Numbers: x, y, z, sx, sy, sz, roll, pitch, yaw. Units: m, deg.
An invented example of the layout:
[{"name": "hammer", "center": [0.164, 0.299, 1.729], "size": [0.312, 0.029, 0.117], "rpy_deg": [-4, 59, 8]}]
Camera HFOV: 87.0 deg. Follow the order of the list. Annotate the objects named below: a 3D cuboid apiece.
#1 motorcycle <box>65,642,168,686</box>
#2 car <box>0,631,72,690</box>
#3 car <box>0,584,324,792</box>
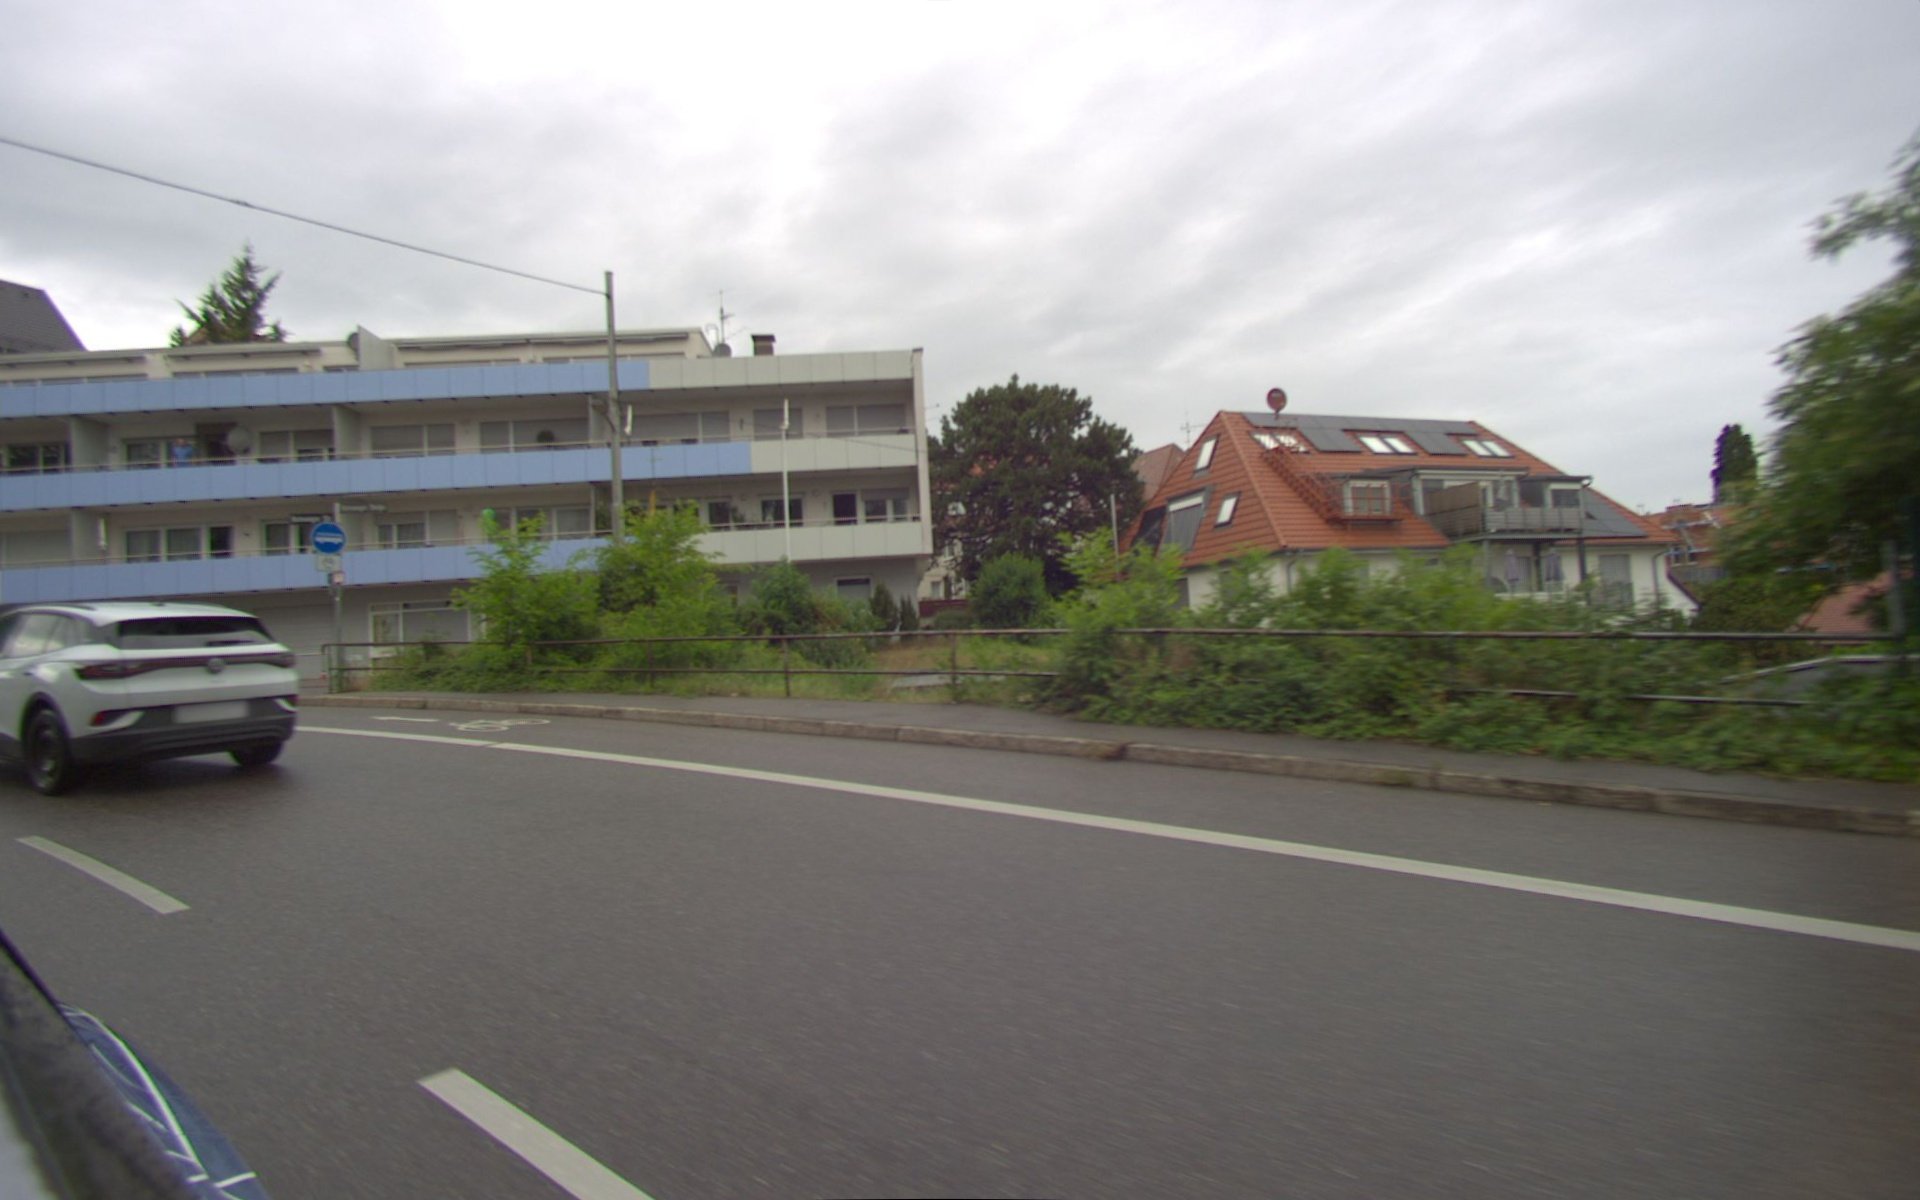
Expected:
[{"name": "motorcycle", "center": [-25.599, 1.940, 30.748], "size": [2.295, 1.320, 0.576], "rpy_deg": [1, -2, -19]}, {"name": "car", "center": [-26.222, 1.637, 27.092], "size": [1.689, 1.562, 3.940], "rpy_deg": [0, -4, -6]}, {"name": "car", "center": [-8.284, 0.777, 9.717], "size": [4.266, 1.619, 1.814], "rpy_deg": [-2, -4, 29]}]
